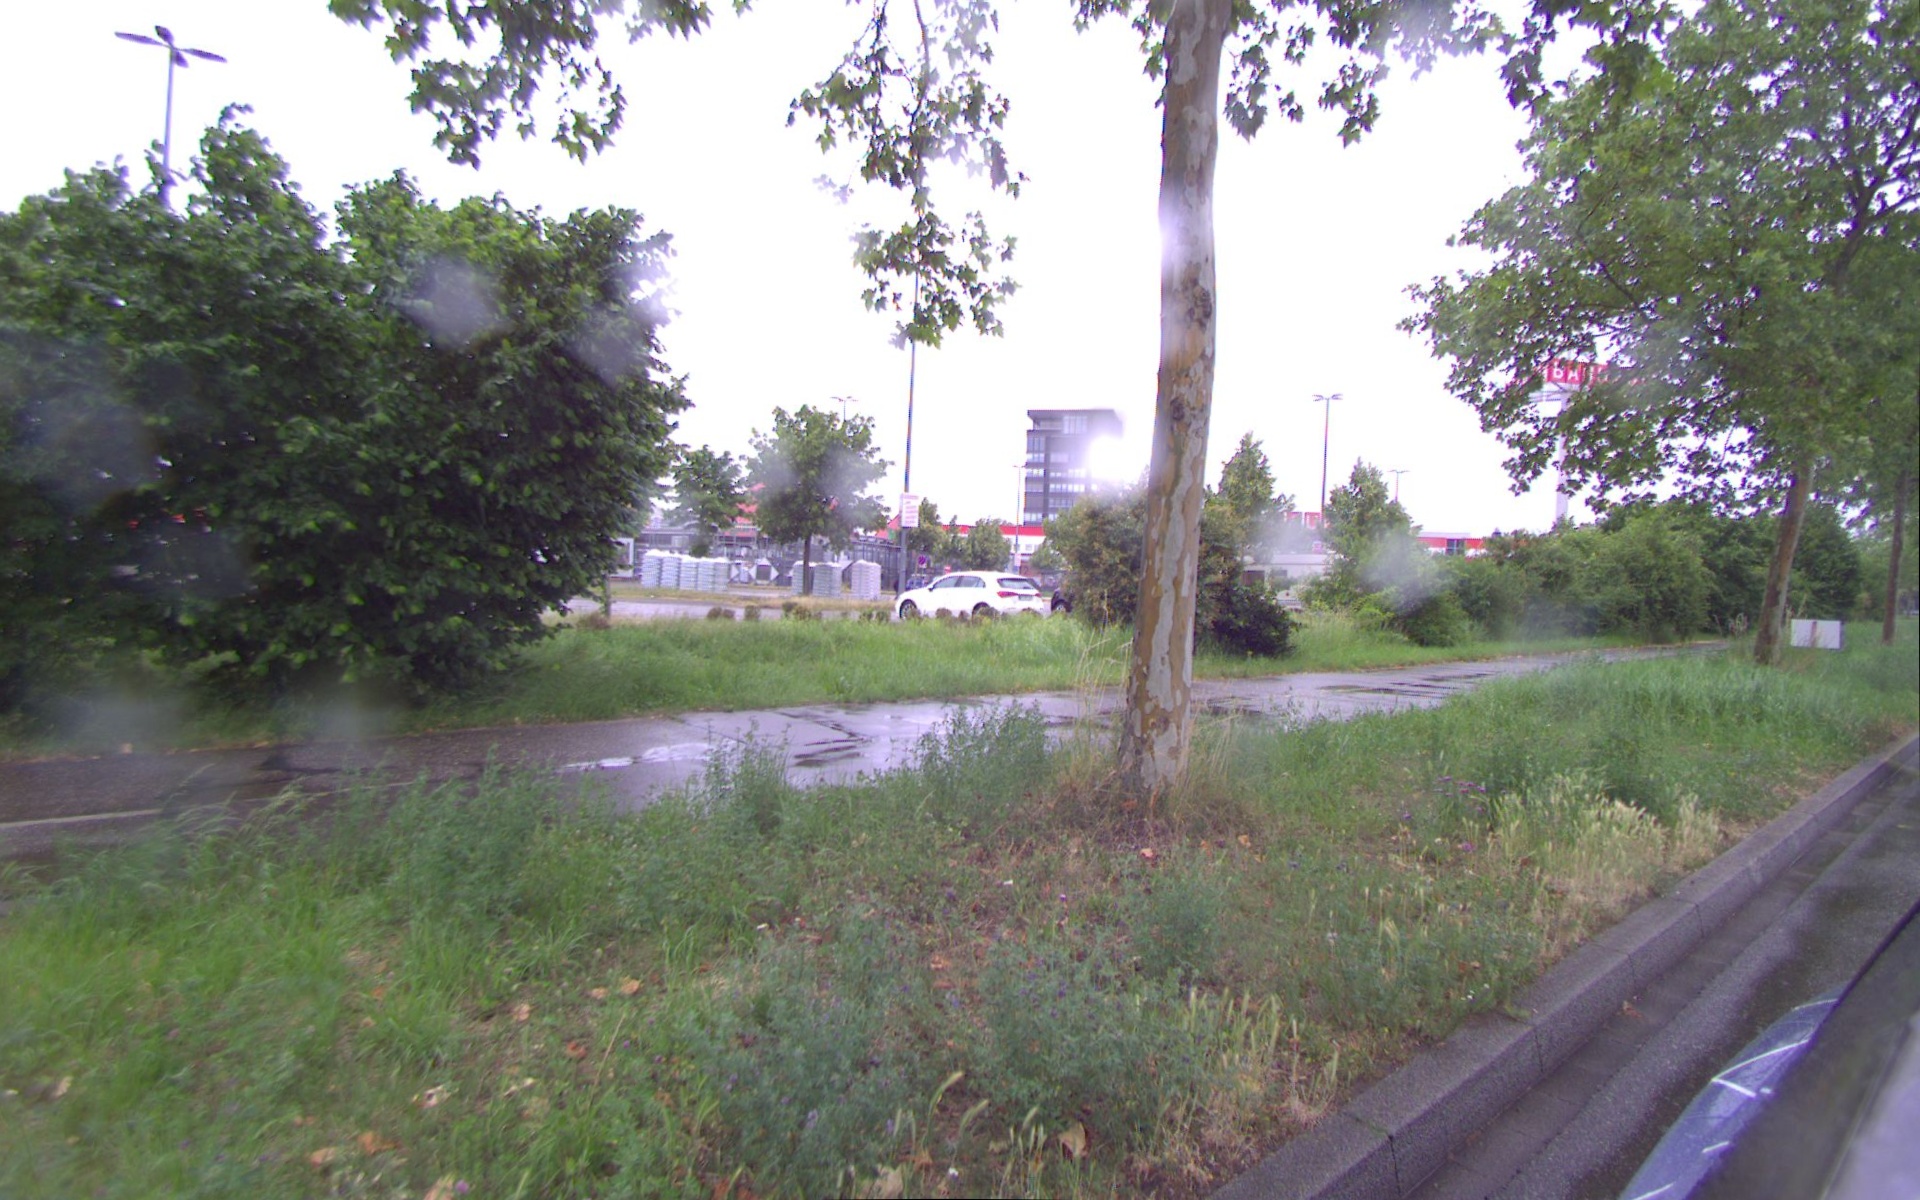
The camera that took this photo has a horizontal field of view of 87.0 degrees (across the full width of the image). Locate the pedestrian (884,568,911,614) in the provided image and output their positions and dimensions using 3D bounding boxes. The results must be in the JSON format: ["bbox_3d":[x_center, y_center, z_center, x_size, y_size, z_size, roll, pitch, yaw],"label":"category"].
[{"bbox_3d":[-2.537,-0.378,40.883,0.786,1.810,0.702,1,1,-45],"label":"pedestrian"}]

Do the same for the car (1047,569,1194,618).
[{"bbox_3d":[4.759,-0.212,30.288,1.967,1.382,3.990,-1,1,-44],"label":"car"}]

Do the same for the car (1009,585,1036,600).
[{"bbox_3d":[5.867,-0.736,94.622,1.834,1.373,3.857,1,1,15],"label":"car"}]

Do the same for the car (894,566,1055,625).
[{"bbox_3d":[0.306,-0.130,25.835,1.838,1.382,3.990,-1,1,-44],"label":"car"}]

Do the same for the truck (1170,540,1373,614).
[{"bbox_3d":[10.726,-0.782,35.312,6.530,2.333,2.186,1,1,43],"label":"truck"}]
